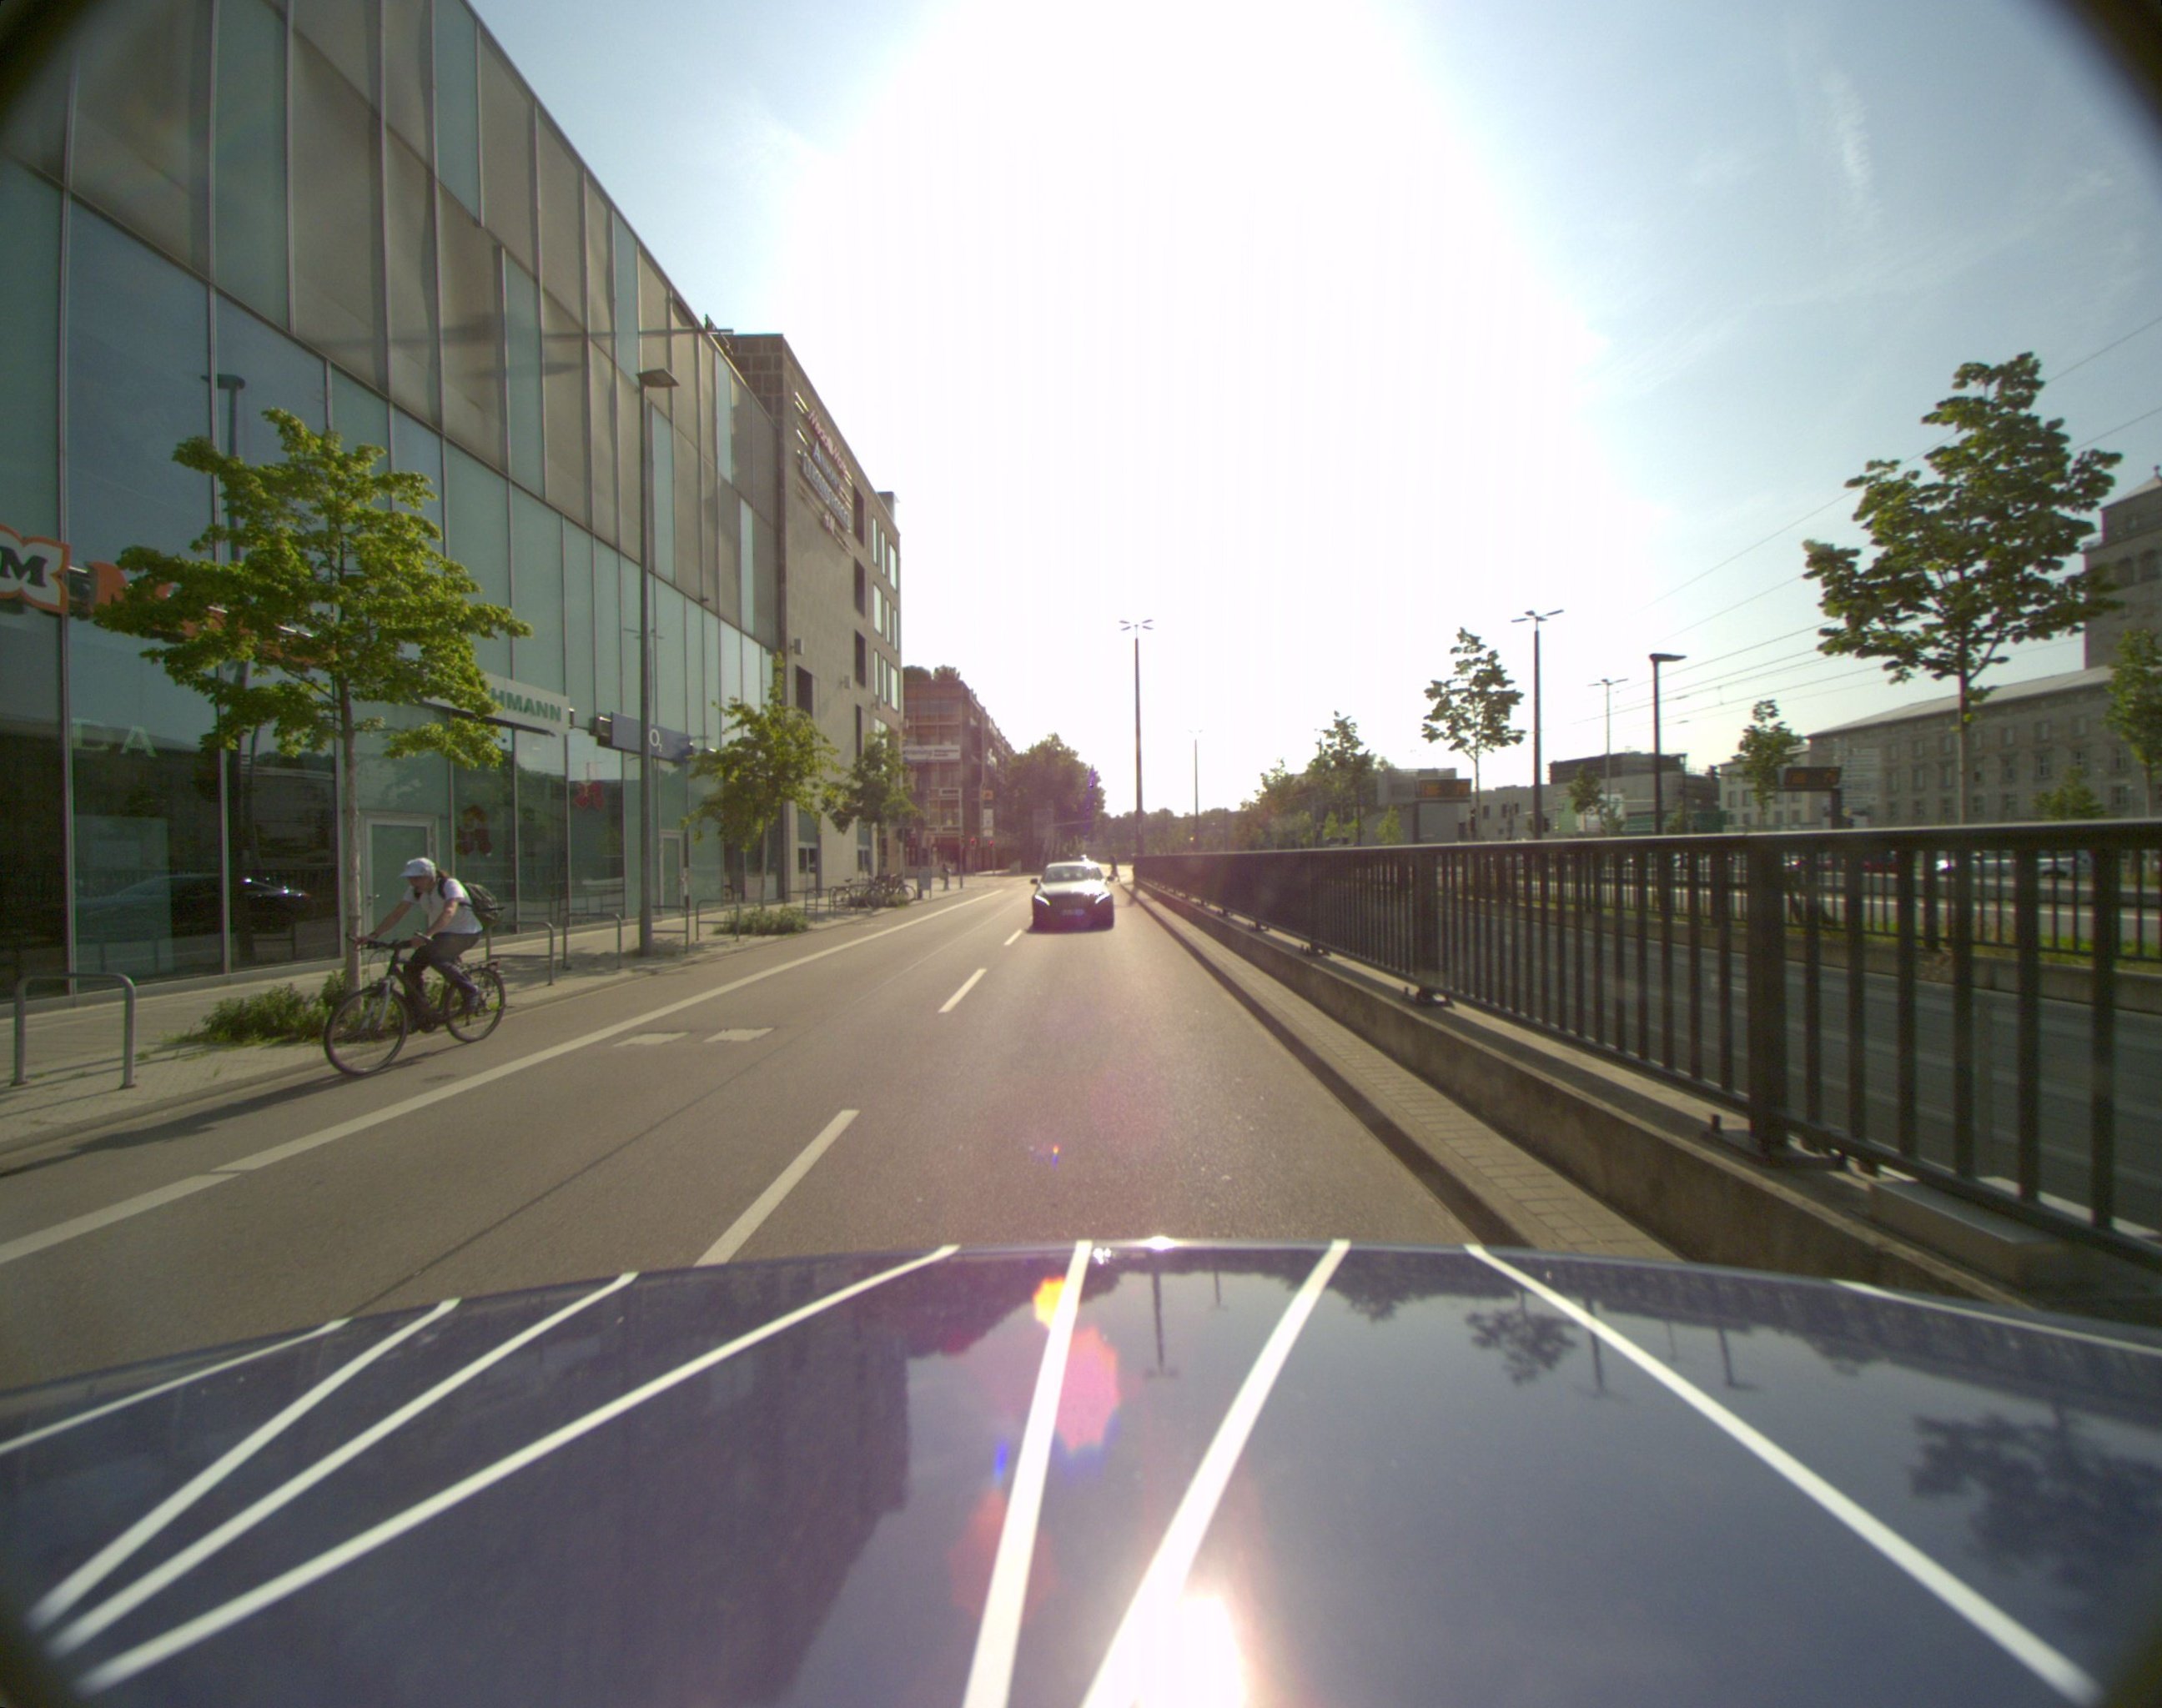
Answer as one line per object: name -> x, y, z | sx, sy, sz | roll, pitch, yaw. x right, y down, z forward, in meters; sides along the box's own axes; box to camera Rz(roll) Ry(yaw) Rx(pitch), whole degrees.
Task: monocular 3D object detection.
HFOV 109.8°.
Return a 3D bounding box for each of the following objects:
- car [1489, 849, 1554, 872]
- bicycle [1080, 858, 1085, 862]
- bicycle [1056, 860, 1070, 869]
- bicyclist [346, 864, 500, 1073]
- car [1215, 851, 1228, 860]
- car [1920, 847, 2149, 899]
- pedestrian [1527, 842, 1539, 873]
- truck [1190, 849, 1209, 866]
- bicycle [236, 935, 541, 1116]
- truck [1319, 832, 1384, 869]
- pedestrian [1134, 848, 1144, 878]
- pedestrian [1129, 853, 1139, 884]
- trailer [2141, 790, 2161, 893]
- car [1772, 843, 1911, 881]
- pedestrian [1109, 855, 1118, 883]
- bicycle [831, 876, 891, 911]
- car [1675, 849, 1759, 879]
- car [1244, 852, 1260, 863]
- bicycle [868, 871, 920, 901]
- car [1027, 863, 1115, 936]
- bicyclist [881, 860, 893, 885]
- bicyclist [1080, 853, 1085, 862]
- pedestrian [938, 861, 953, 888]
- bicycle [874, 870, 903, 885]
car -> 31.403, 0.423, 54.369 | 1.797, 1.572, 4.614 | -1, 0, -3
bicycle -> 0.292, 1.017, 125.720 | 0.630, 0.702, 1.808 | -1, 0, -8
bicycle -> -2.292, 1.299, 97.113 | 1.831, 1.181, 0.537 | 0, 0, 6
bicyclist -> -5.809, 0.967, 6.751 | 0.652, 1.738, 0.769 | -1, 0, 4
car -> 27.658, 0.265, 149.904 | 1.644, 1.592, 3.999 | -1, 0, -2
car -> 29.673, 0.548, 23.907 | 1.647, 1.461, 4.403 | -1, 0, 0
pedestrian -> 24.874, 0.180, 41.814 | 0.371, 1.666, 0.641 | -1, 0, 18
truck -> 27.872, 0.814, 179.547 | 2.979, 3.787, 10.423 | -1, 0, 1
bicycle -> -5.814, 1.370, 6.599 | 0.662, 1.111, 2.051 | -1, 0, 4
truck -> 28.233, -0.328, 79.840 | 3.030, 3.565, 8.887 | -1, 0, -5
pedestrian -> 3.265, 0.507, 43.015 | 0.468, 1.640, 0.777 | -1, 0, 1
pedestrian -> 2.935, 0.790, 41.933 | 0.468, 1.640, 0.777 | -1, 0, 1
trailer -> 29.856, -0.367, 18.142 | 2.050, 2.764, 5.021 | -3, 0, 0
car -> 29.918, 0.310, 30.060 | 1.725, 1.353, 3.697 | -1, 0, -3
pedestrian -> 1.938, 0.873, 44.892 | 0.468, 1.640, 0.777 | -1, 0, 1
bicycle -> -7.461, 1.335, 25.759 | 1.882, 1.103, 0.490 | -1, 0, 3
car -> 33.300, 0.505, 39.883 | 1.600, 1.455, 3.434 | -1, 0, 1
car -> 28.173, 0.543, 125.268 | 1.620, 1.778, 4.518 | -1, 0, 0
bicycle -> -7.351, 1.259, 29.935 | 1.843, 1.106, 0.687 | -3, 0, 3
car -> -0.111, 0.996, 18.512 | 1.716, 1.429, 5.058 | -2, 0, 4
bicyclist -> -13.432, 1.275, 52.617 | 0.636, 1.727, 0.582 | -1, 0, 1
bicyclist -> 0.279, 0.605, 125.859 | 0.612, 1.504, 0.813 | -1, 0, -9
pedestrian -> -7.500, 1.131, 42.046 | 0.710, 1.478, 0.604 | -1, 0, -6
bicycle -> -13.329, 1.614, 52.611 | 1.806, 1.011, 0.612 | -1, 0, 1
